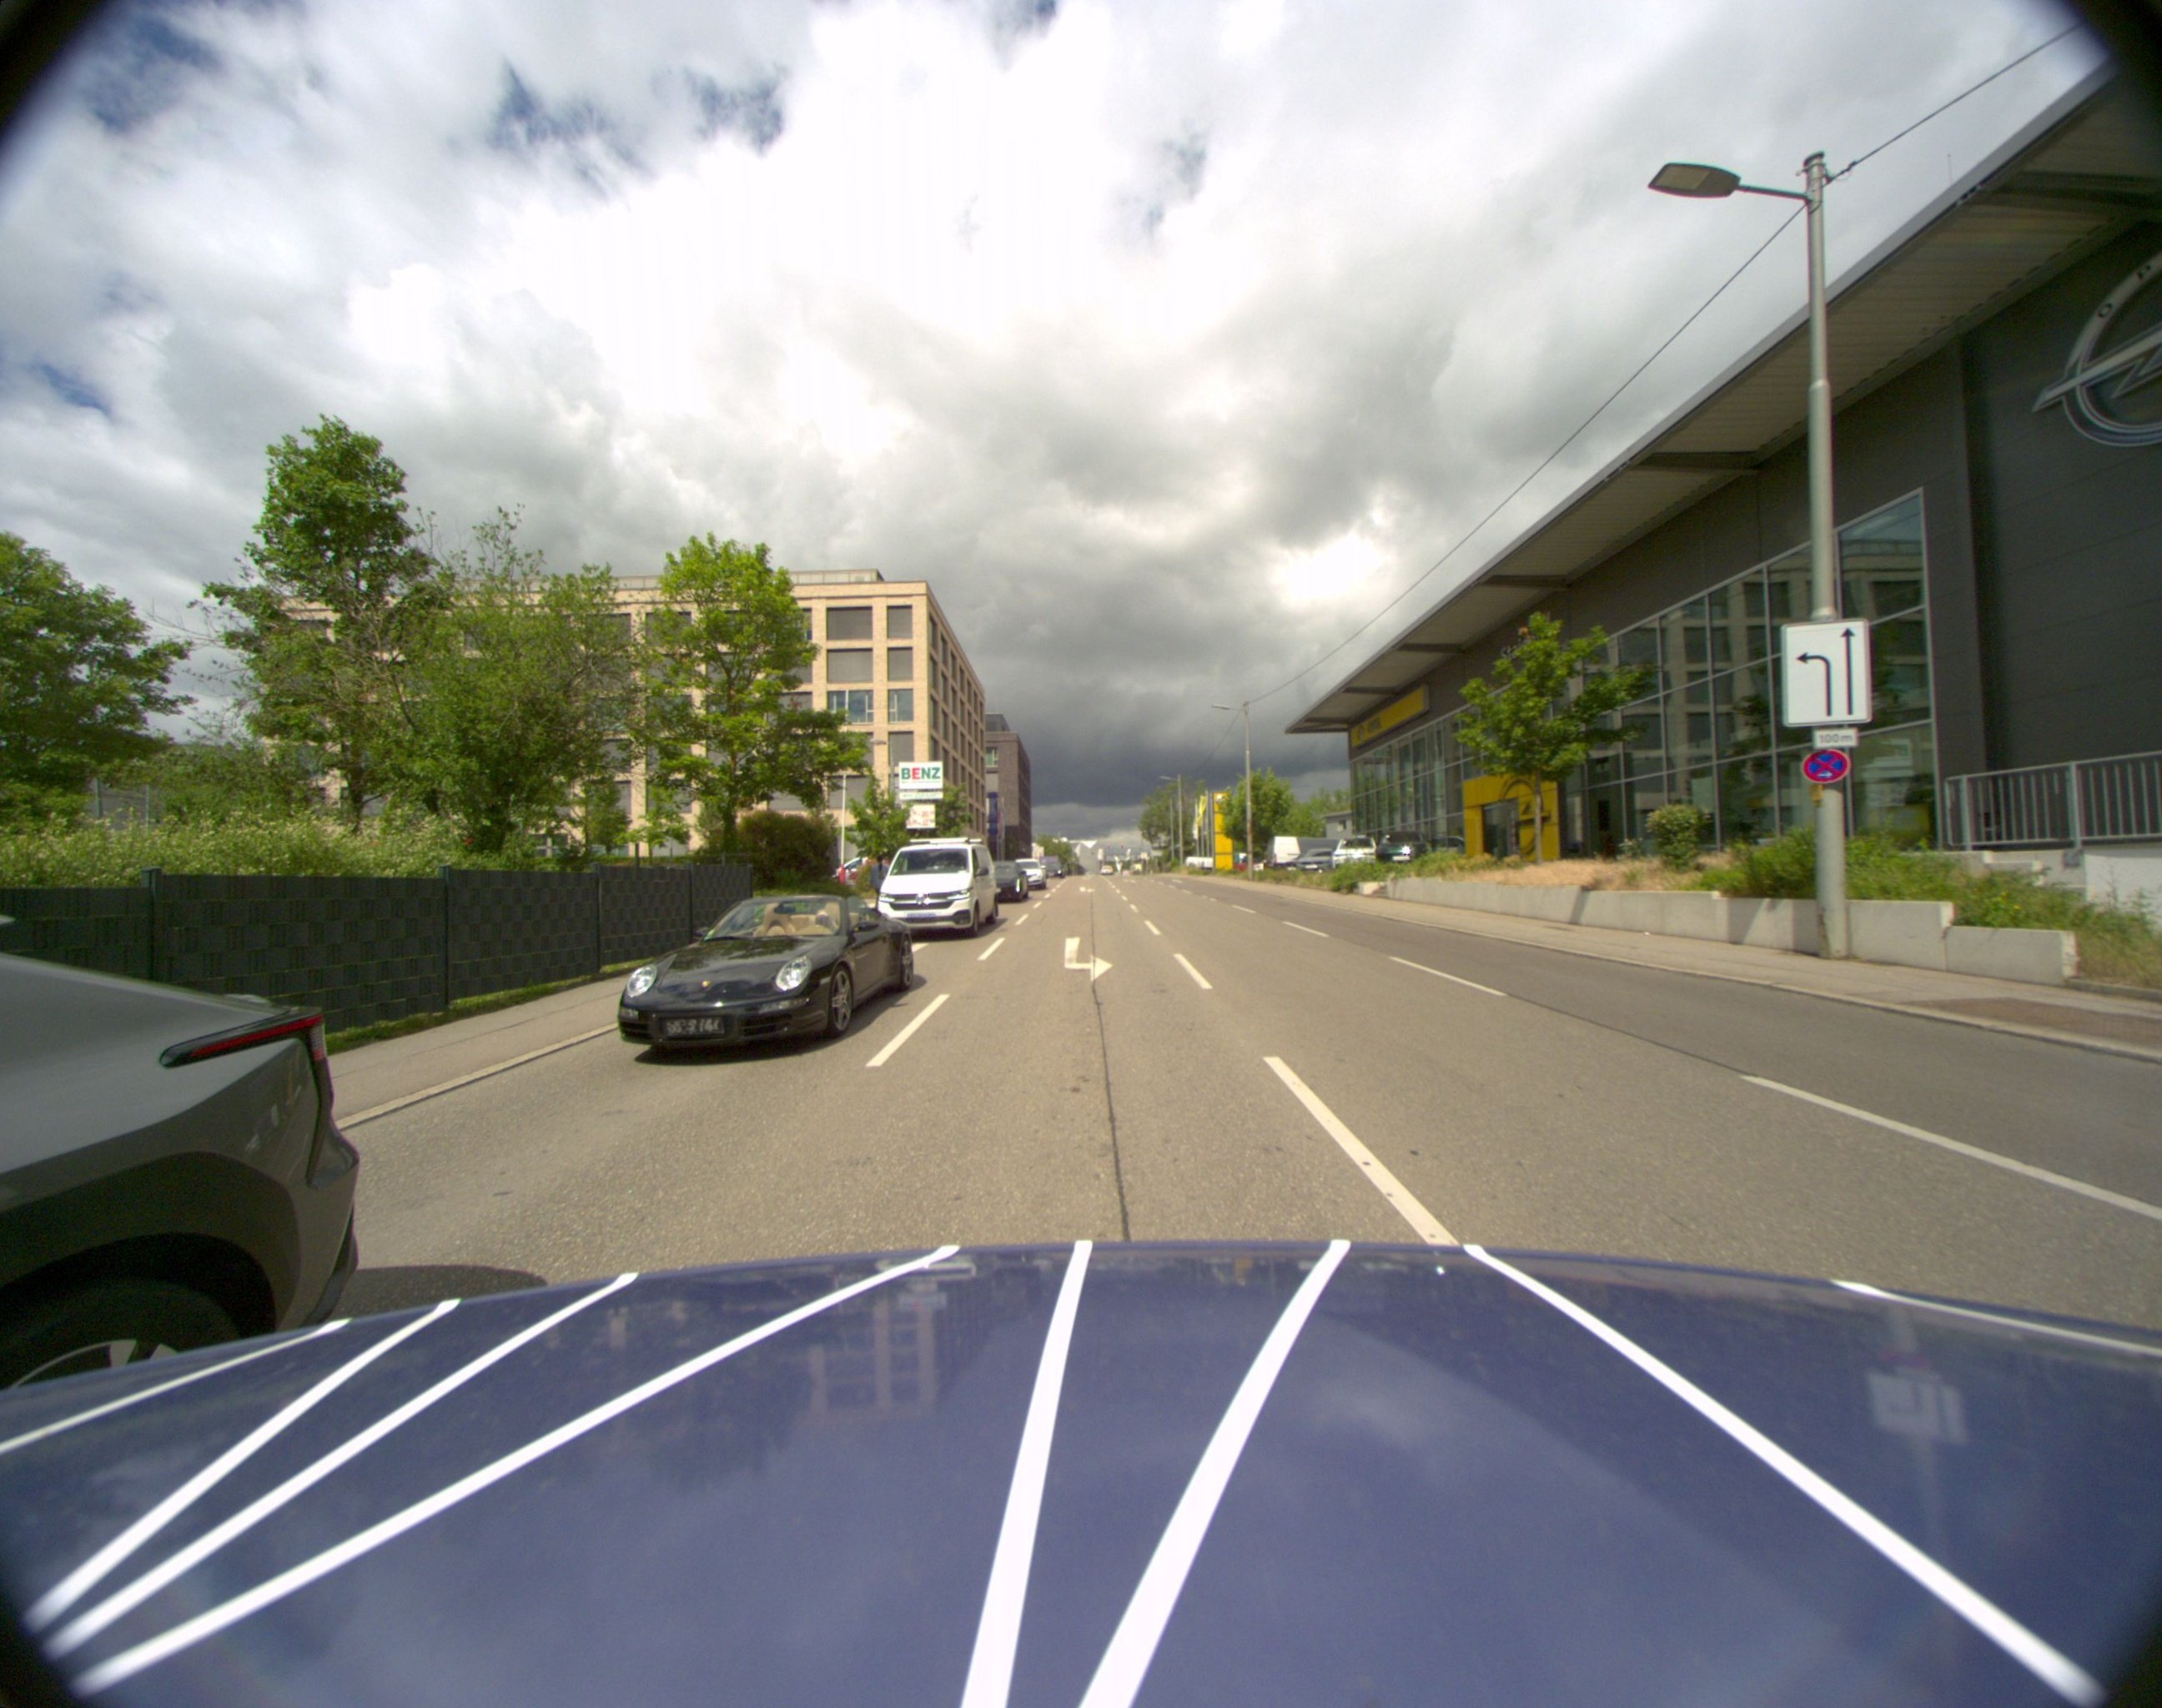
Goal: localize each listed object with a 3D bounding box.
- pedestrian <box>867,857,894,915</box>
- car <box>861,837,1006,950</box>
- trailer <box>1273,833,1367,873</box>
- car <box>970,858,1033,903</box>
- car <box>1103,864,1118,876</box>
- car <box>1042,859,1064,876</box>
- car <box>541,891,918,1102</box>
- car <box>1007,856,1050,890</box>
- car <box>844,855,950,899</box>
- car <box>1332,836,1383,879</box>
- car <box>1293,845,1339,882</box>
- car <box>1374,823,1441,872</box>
[{"bbox_3d":[-5.734,0.903,21.720,0.632,1.648,0.443,-1,1,-1],"label":"pedestrian"},{"bbox_3d":[-3.002,0.730,16.584,2.089,2.037,4.760,-2,0,1],"label":"car"},{"bbox_3d":[14.458,-0.070,46.165,5.074,2.336,2.000,-1,1,-1],"label":"trailer"},{"bbox_3d":[-2.823,0.913,27.880,1.818,1.454,4.000,-1,0,1],"label":"car"},{"bbox_3d":[4.510,2.445,116.725,1.998,1.731,4.547,-2,0,1],"label":"car"},{"bbox_3d":[-2.382,1.151,64.750,1.662,1.351,4.000,-1,0,1],"label":"car"},{"bbox_3d":[-3.035,1.154,7.644,1.824,1.286,4.038,-2,0,1],"label":"car"},{"bbox_3d":[-2.587,0.896,38.421,1.818,1.577,4.000,-1,0,1],"label":"car"},{"bbox_3d":[-7.625,0.949,31.773,3.998,1.723,1.822,-1,1,-3],"label":"car"},{"bbox_3d":[12.174,0.128,33.432,1.995,1.783,4.006,-1,0,21],"label":"car"},{"bbox_3d":[12.113,0.467,39.005,1.995,1.783,4.006,-1,0,21],"label":"car"},{"bbox_3d":[12.341,-0.254,28.921,1.996,1.718,4.005,-1,0,18],"label":"car"}]
